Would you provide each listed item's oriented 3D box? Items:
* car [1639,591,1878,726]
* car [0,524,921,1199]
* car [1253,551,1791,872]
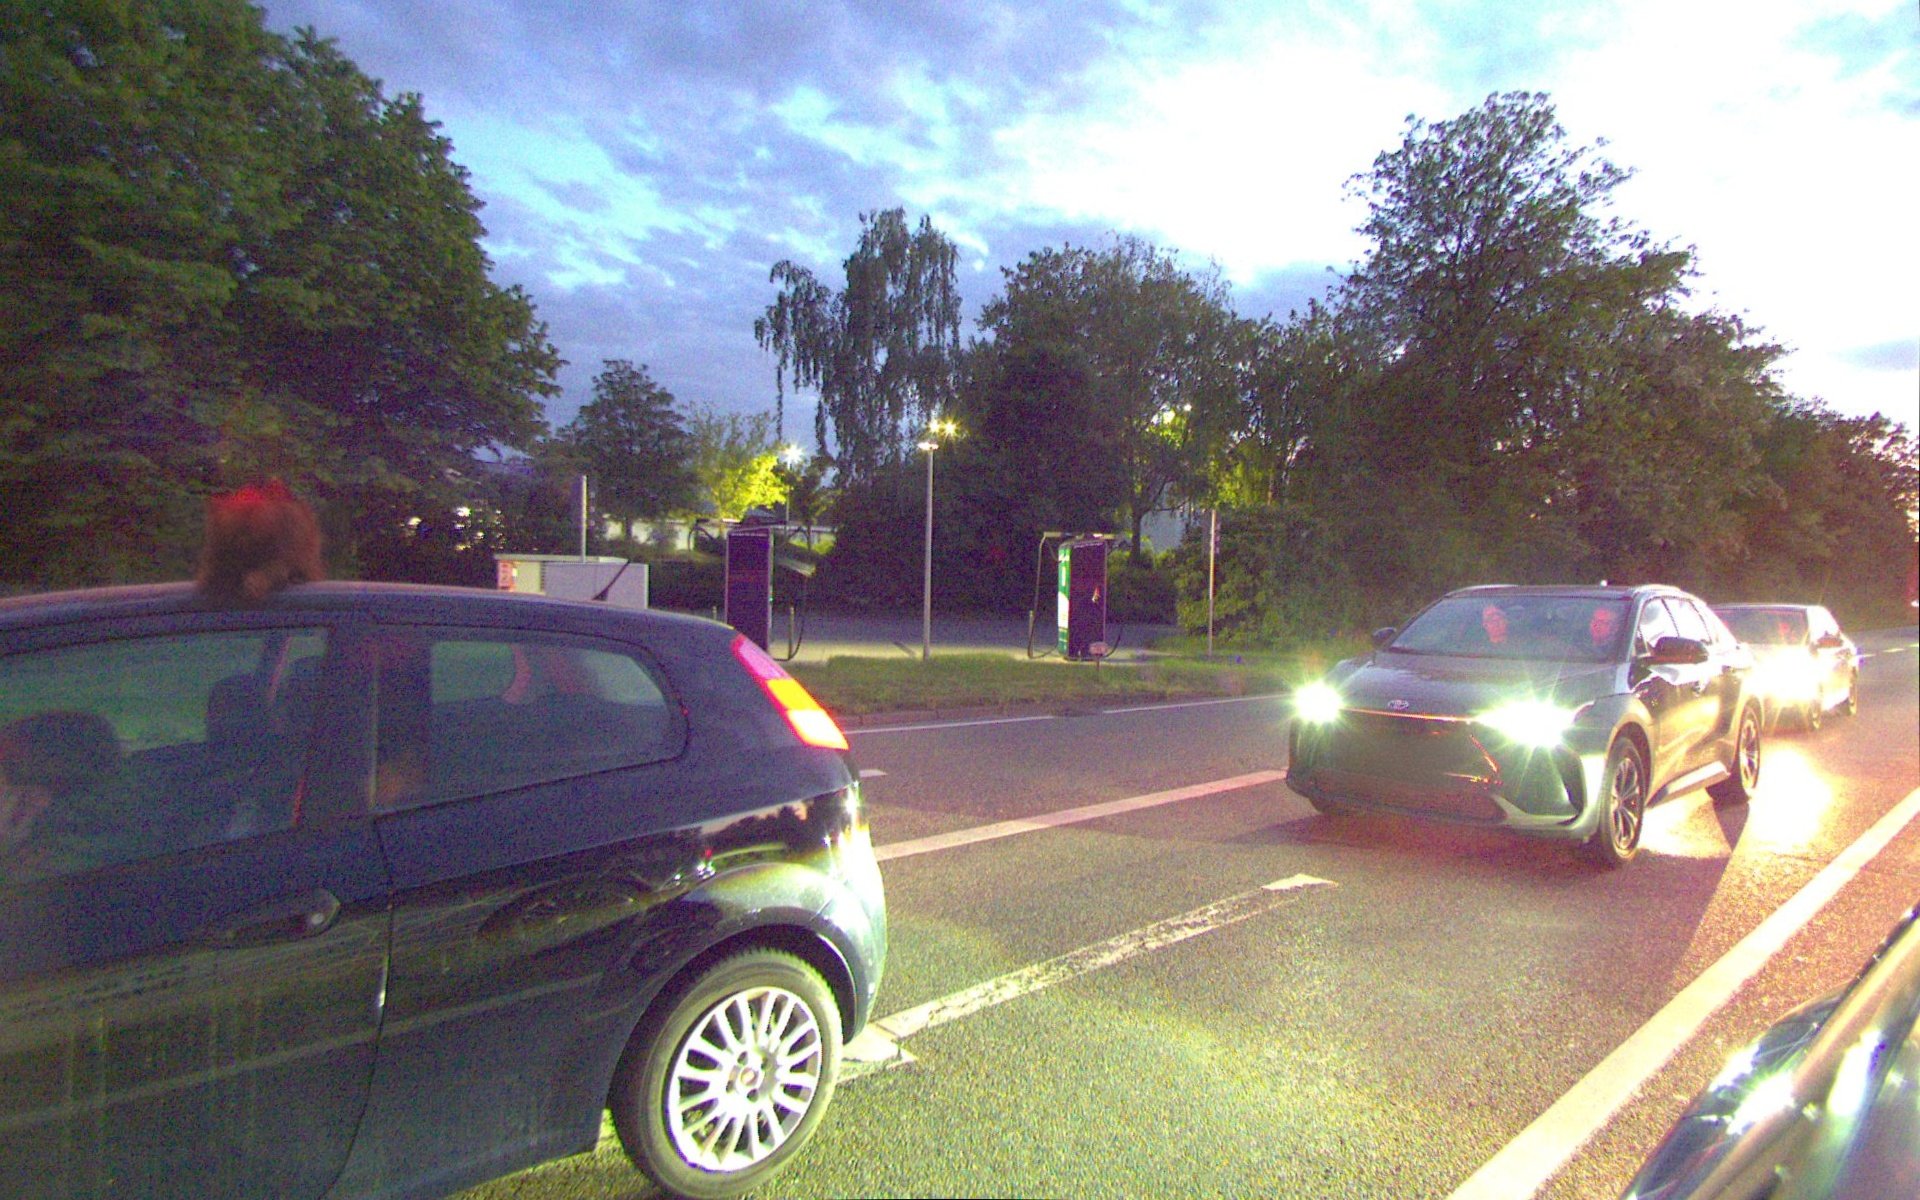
[{"bbox_3d":[10.070,0.642,12.681,3.688,1.431,1.621,1,1,-40],"label":"car"},{"bbox_3d":[-2.030,0.649,2.210,3.649,1.556,1.662,0,1,-40],"label":"car"},{"bbox_3d":[4.092,0.577,7.081,4.223,1.577,1.901,1,-1,-40],"label":"car"}]
